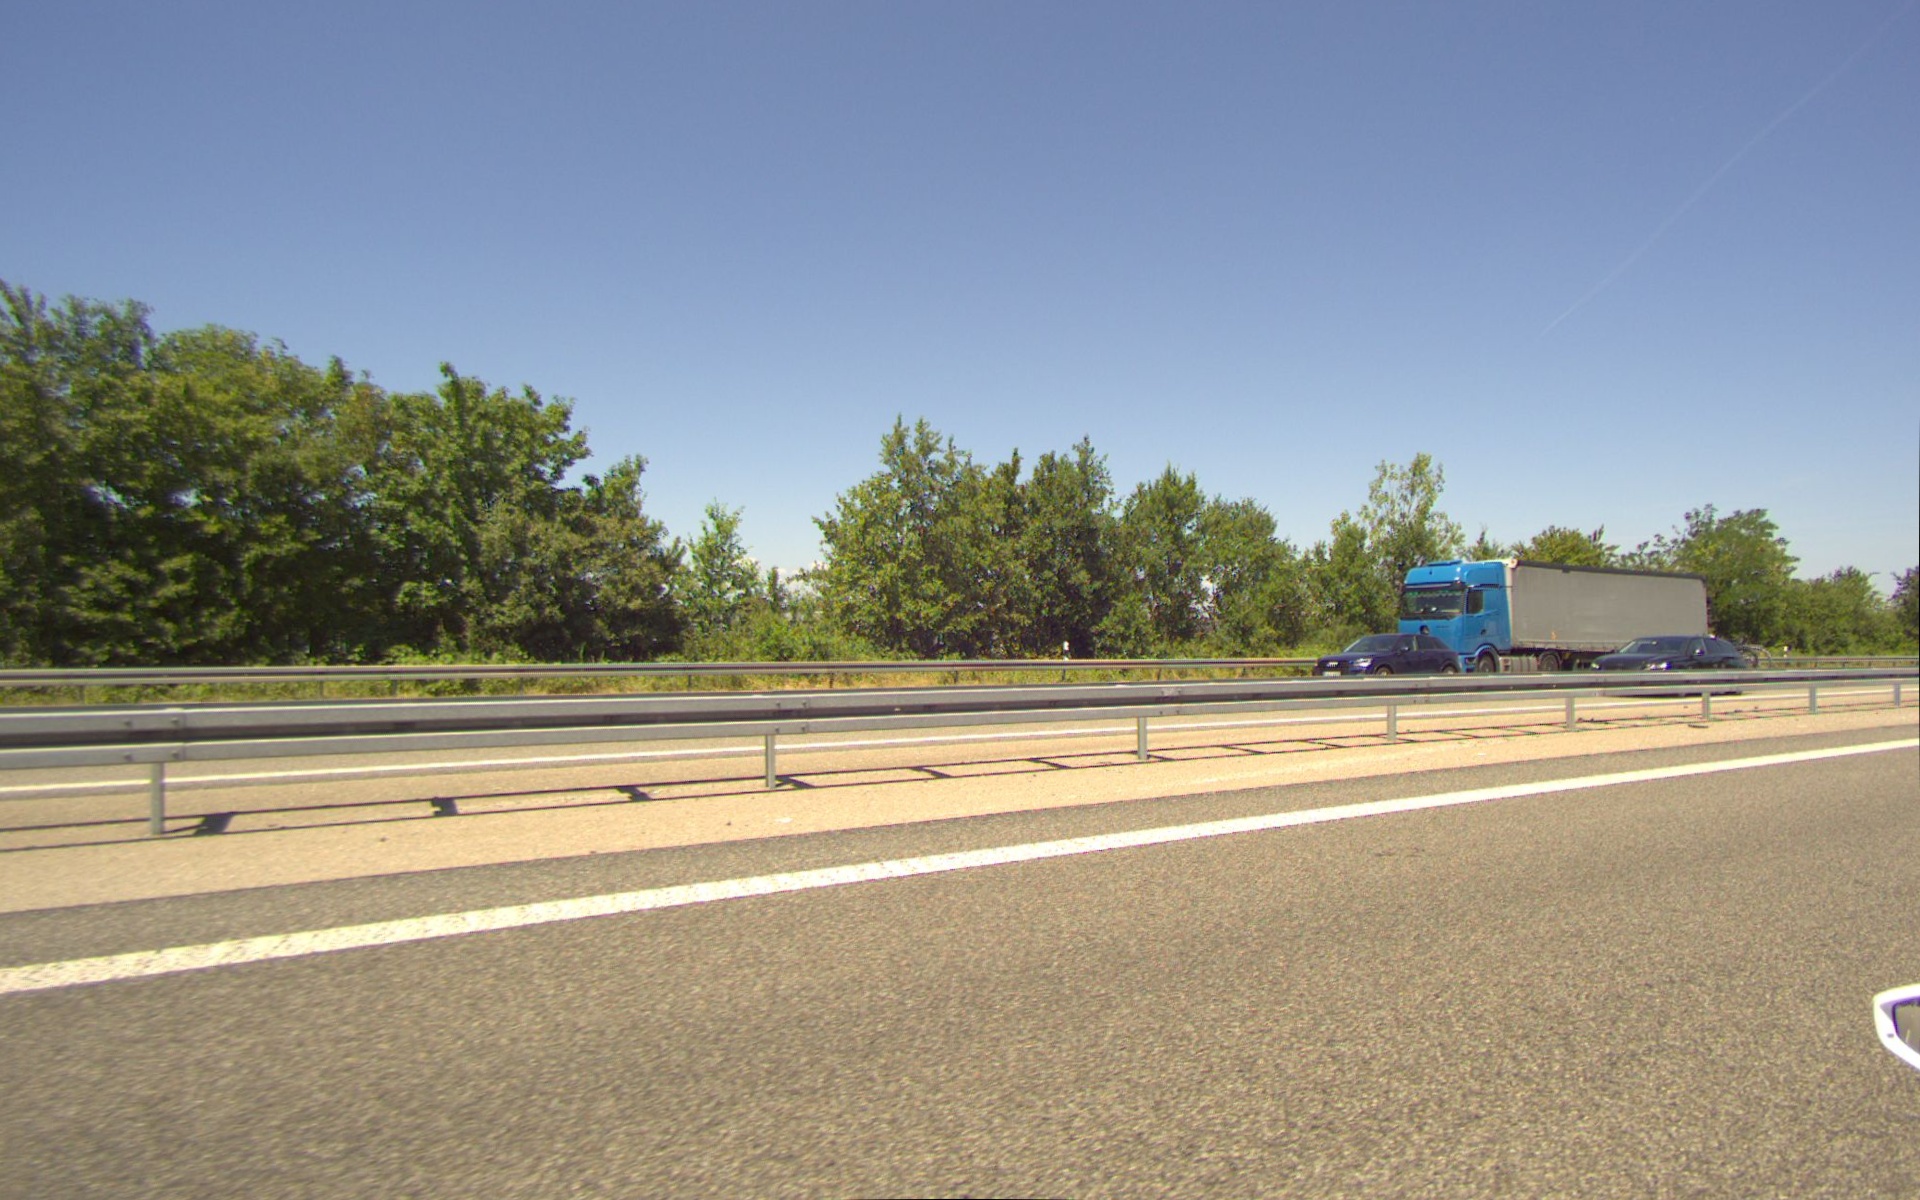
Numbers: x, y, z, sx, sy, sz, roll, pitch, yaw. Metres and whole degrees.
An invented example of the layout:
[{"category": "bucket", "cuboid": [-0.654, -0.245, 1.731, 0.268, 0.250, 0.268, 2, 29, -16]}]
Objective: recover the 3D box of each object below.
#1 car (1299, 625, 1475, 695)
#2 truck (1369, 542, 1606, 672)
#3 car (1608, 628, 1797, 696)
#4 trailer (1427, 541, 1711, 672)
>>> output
[{"category": "car", "cuboid": [10.671, 1.475, 25.051, 4.264, 1.483, 1.840, 2, 2, -31]}, {"category": "truck", "cuboid": [18.369, 0.282, 34.777, 8.625, 4.039, 3.236, 1, 0, -31]}, {"category": "car", "cuboid": [18.053, 1.492, 24.362, 5.110, 1.482, 1.841, 2, -4, -31]}, {"category": "trailer", "cuboid": [23.103, 0.336, 37.619, 13.385, 4.242, 3.281, 1, -1, -31]}]
